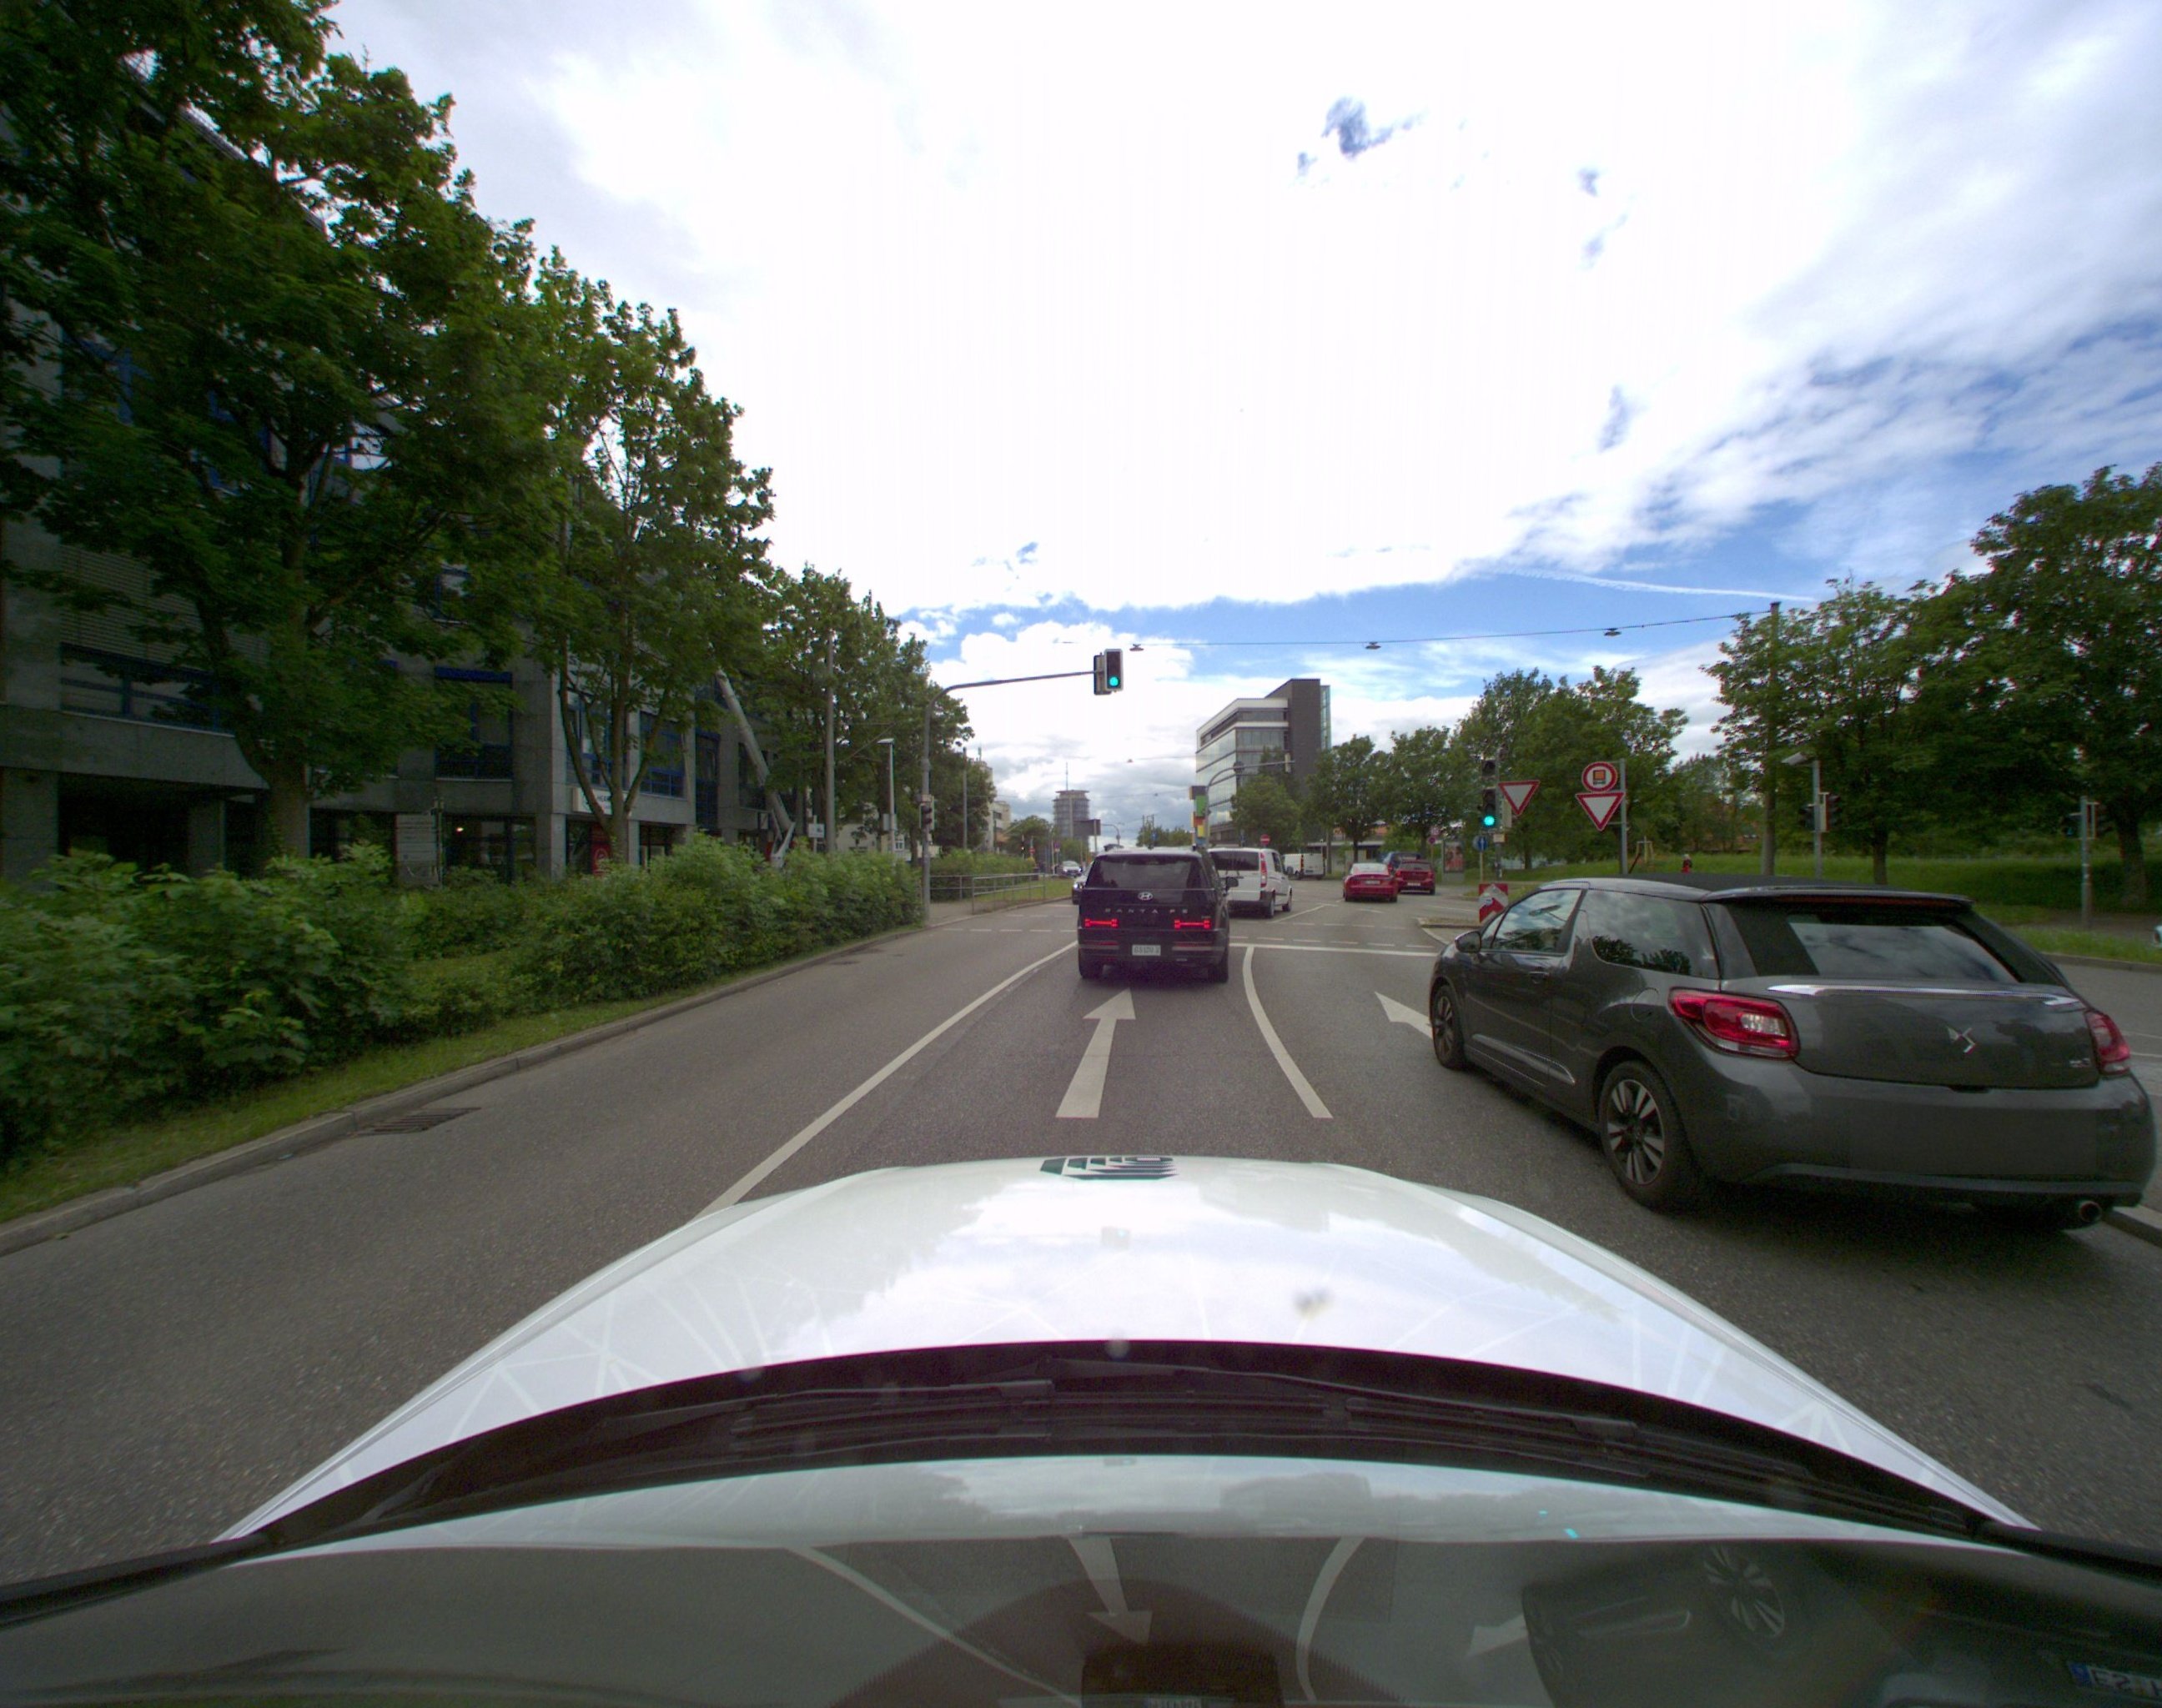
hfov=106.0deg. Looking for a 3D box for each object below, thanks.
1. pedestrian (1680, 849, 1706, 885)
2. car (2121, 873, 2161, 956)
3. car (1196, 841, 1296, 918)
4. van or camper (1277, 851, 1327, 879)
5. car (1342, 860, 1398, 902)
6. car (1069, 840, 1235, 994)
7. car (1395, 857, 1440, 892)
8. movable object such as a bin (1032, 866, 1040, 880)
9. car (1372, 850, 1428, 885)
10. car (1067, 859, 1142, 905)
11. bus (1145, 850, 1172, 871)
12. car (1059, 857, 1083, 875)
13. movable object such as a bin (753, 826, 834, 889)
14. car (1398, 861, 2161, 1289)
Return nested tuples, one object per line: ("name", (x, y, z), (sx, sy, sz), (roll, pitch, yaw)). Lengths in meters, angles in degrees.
("pedestrian", (27.855, 0.589, 37.068), (0.542, 1.604, 0.699), (-5, 1, -15))
("car", (21.425, 1.189, 13.719), (1.850, 1.530, 4.472), (1, 1, -11))
("car", (4.847, 0.654, 23.383), (1.885, 1.969, 4.661), (0, 0, 23))
("van or camper", (16.339, 0.772, 60.388), (1.993, 1.918, 4.396), (0, 1, -9))
("car", (10.946, 0.968, 30.966), (1.858, 1.418, 4.463), (1, 0, 18))
("car", (1.174, 0.724, 11.577), (1.891, 1.731, 4.458), (1, 0, 9))
("car", (14.826, 0.873, 36.053), (1.730, 1.481, 3.737), (0, 0, 21))
("movable object such as a bin", (-3.380, 1.428, 61.452), (0.563, 1.012, 0.836), (0, -1, -8))
("car", (17.519, 0.715, 44.939), (1.891, 1.859, 4.721), (1, 0, 9))
("car", (0.933, 0.937, 28.767), (1.833, 1.436, 4.720), (-2, -1, 11))
("bus", (11.863, 1.062, 125.643), (2.958, 3.117, 9.238), (-2, -1, -1))
("car", (-0.994, 1.109, 77.212), (1.782, 1.537, 4.384), (0, 0, -8))
("movable object such as a bin", (-12.516, 0.140, 35.734), (1.898, 2.531, 4.128), (2, 0, 1))
("car", (3.392, 0.792, 4.916), (1.693, 1.461, 4.068), (1, 0, 5))
